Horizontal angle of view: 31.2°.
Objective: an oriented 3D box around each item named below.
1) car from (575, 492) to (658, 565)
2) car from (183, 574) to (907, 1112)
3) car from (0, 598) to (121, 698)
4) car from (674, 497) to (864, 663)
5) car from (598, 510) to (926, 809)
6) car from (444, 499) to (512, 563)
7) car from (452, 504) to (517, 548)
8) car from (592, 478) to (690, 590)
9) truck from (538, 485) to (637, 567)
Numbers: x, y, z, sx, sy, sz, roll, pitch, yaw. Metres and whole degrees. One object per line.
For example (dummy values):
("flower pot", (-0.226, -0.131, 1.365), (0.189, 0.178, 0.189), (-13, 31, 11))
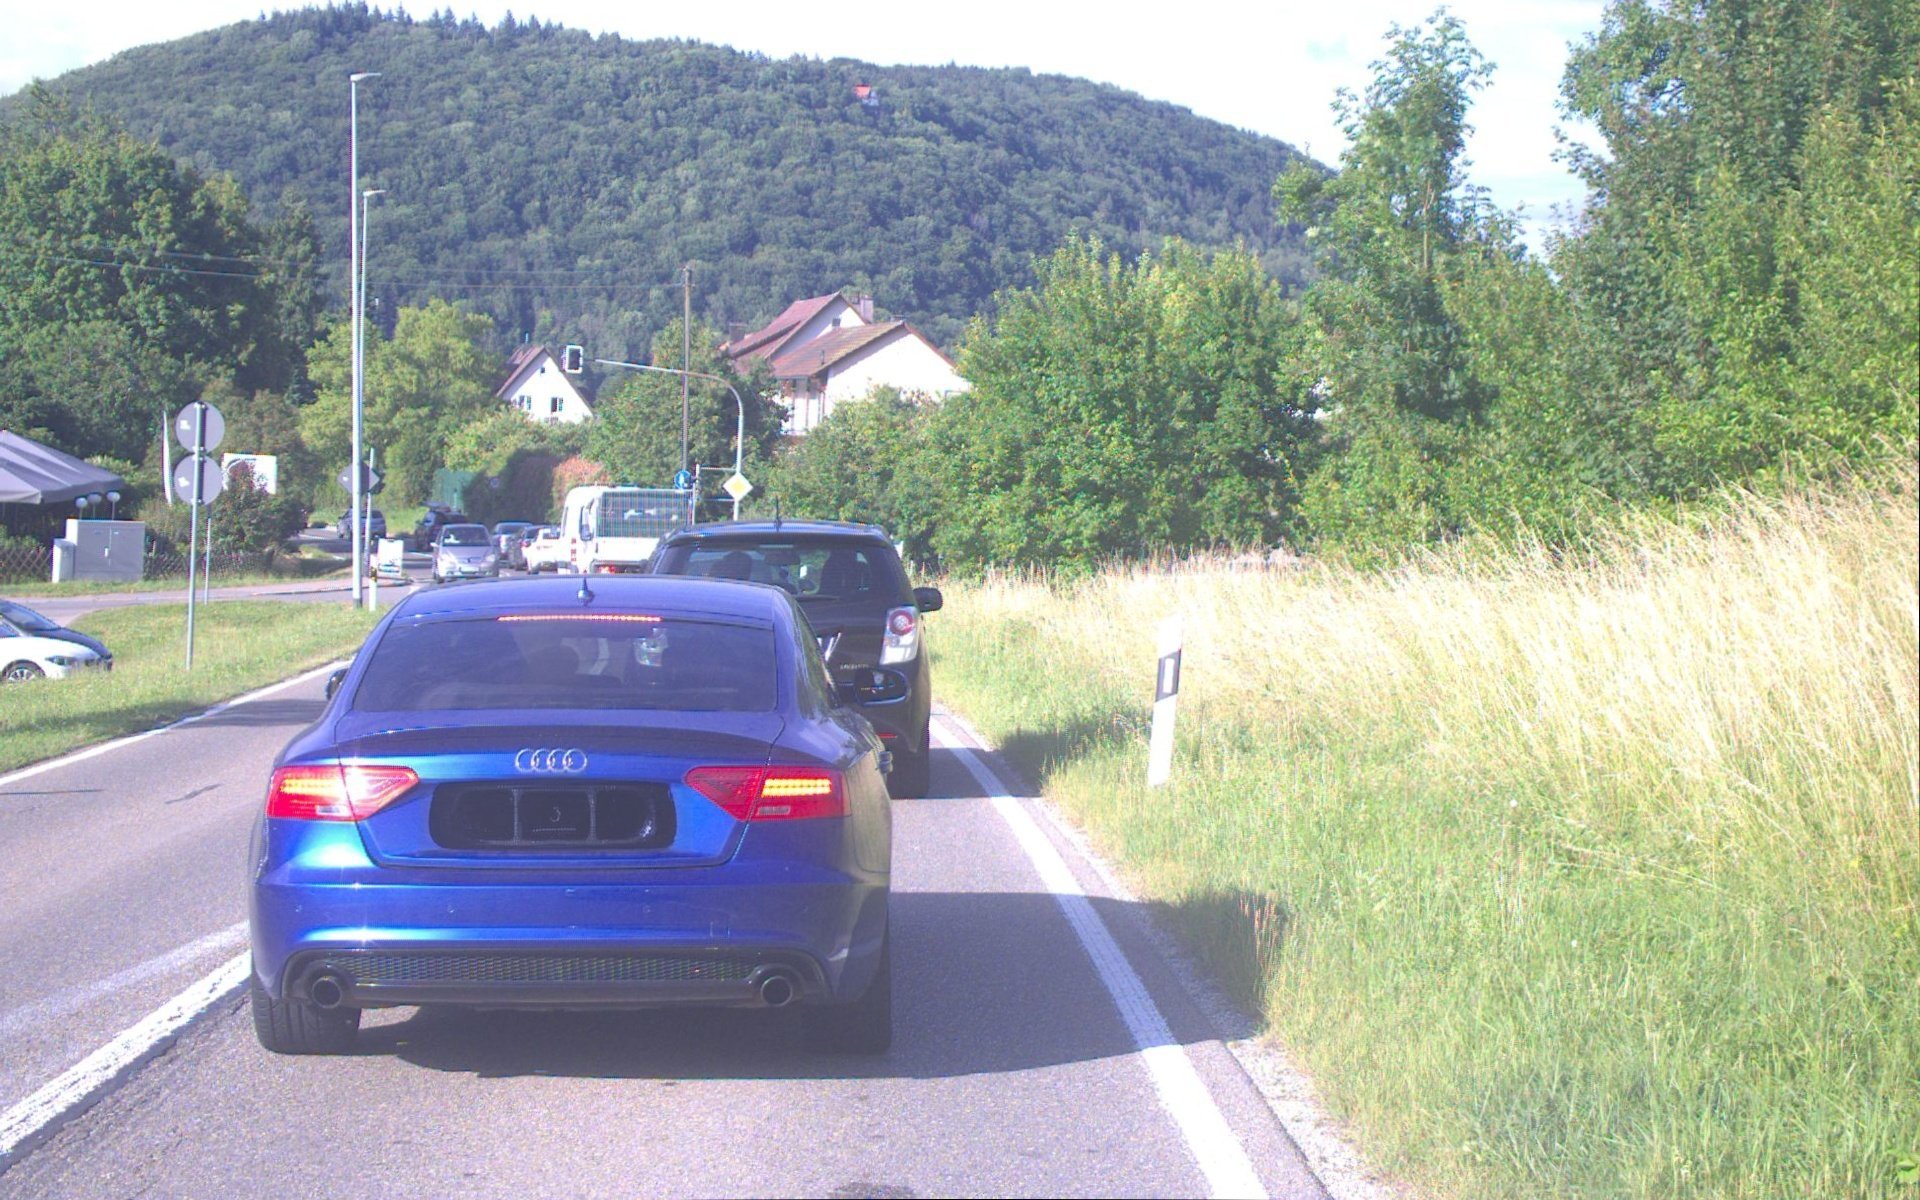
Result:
("car", (-8.085, -1.661, 80.740), (1.745, 1.634, 4.001), (1, 0, -8))
("car", (-1.103, 0.614, 10.878), (1.795, 1.383, 4.000), (0, 0, 0))
("car", (-15.831, 0.713, 53.963), (4.815, 1.488, 1.880), (1, 0, 8))
("car", (-1.977, -0.218, 36.684), (1.804, 1.634, 4.463), (1, 0, -1))
("car", (-1.120, 0.313, 21.108), (1.746, 1.634, 4.000), (1, 0, 0))
("car", (-13.024, -1.844, 92.774), (1.734, 1.656, 3.472), (1, 0, -9))
("car", (-16.643, -2.571, 120.240), (1.697, 1.485, 3.528), (1, 0, -17))
("car", (-6.469, -1.315, 69.504), (1.745, 2.188, 4.001), (1, 0, -8))
("truck", (-9.339, -1.817, 85.849), (1.697, 1.947, 5.924), (1, 0, -13))
